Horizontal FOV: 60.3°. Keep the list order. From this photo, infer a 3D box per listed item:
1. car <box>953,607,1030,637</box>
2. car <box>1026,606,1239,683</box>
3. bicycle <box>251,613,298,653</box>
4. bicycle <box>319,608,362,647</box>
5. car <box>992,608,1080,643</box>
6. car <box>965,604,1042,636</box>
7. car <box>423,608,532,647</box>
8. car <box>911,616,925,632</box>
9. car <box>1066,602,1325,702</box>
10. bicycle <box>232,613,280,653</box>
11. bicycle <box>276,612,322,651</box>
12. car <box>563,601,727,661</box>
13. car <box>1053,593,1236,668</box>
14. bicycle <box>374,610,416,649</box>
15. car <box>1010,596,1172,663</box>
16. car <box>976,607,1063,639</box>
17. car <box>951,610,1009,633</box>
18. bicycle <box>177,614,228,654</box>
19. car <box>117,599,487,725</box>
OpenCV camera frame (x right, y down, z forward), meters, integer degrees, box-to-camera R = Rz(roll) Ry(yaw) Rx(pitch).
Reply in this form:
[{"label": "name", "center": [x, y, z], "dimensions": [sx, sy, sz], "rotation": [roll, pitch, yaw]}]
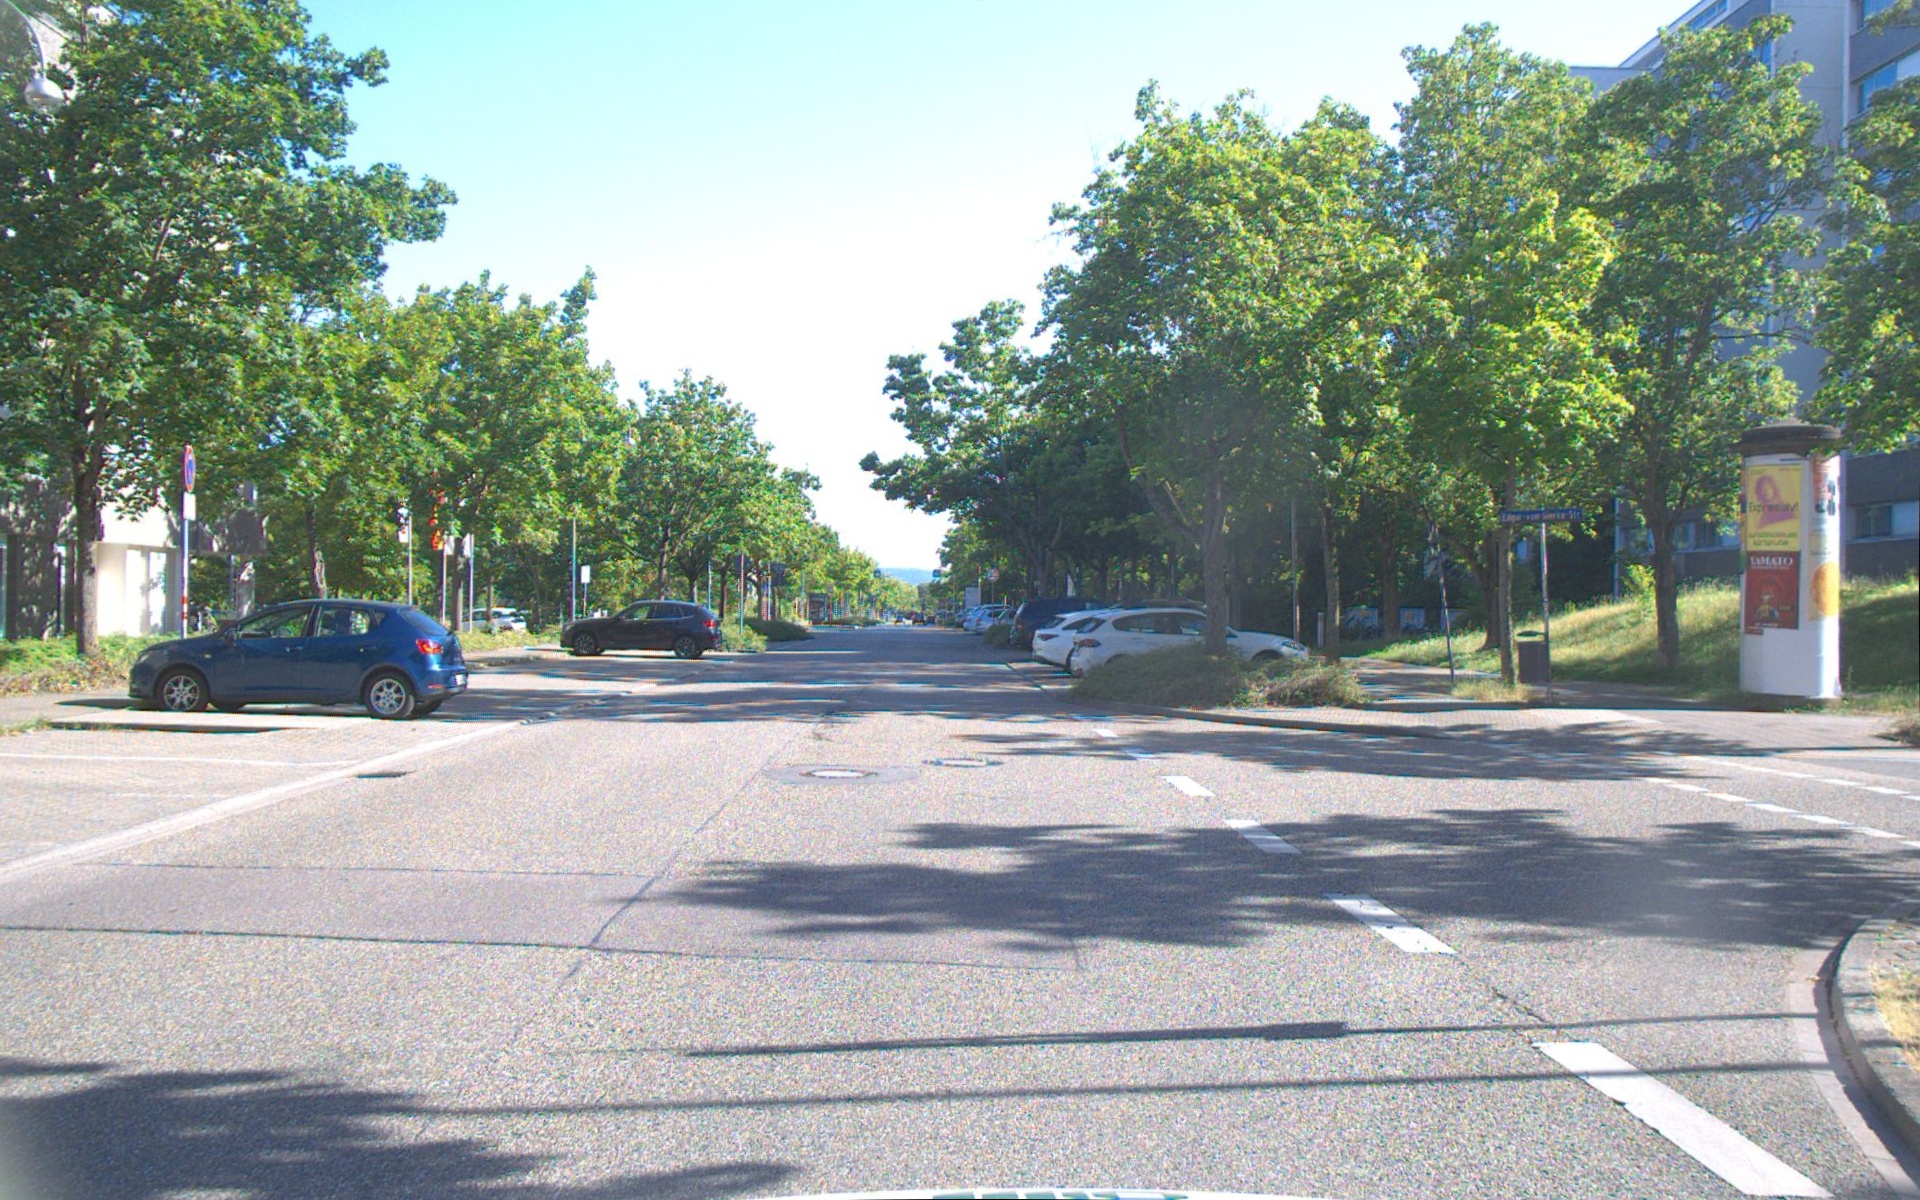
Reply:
[{"label": "car", "center": [1.792, 1.253, 94.447], "dimensions": [4.256, 1.515, 1.737], "rotation": [-2, -1, -3]}, {"label": "car", "center": [3.717, 0.959, 36.111], "dimensions": [4.355, 1.572, 1.816], "rotation": [1, -1, -4]}, {"label": "bicycle", "center": [-19.215, 0.918, 46.409], "dimensions": [0.428, 1.066, 2.192], "rotation": [1, -1, -1]}, {"label": "bicycle", "center": [-17.871, 0.787, 47.777], "dimensions": [0.428, 1.066, 2.192], "rotation": [1, -1, -1]}, {"label": "car", "center": [3.450, 1.147, 75.786], "dimensions": [3.906, 1.476, 1.716], "rotation": [-1, 0, -1]}, {"label": "car", "center": [2.540, 1.153, 97.171], "dimensions": [4.347, 1.676, 1.815], "rotation": [-2, 0, -3]}, {"label": "car", "center": [-20.020, 1.146, 68.709], "dimensions": [3.994, 1.476, 1.624], "rotation": [-1, -1, 0]}, {"label": "car", "center": [-6.241, 3.552, 245.273], "dimensions": [1.953, 2.048, 4.000], "rotation": [1, 2, -1]}, {"label": "car", "center": [4.209, 0.916, 29.988], "dimensions": [4.340, 1.621, 1.835], "rotation": [-2, -1, -4]}, {"label": "bicycle", "center": [-19.741, 0.918, 46.395], "dimensions": [0.428, 1.066, 2.192], "rotation": [1, -1, -1]}, {"label": "bicycle", "center": [-18.424, 0.869, 46.160], "dimensions": [0.428, 1.066, 2.192], "rotation": [1, -1, -1]}, {"label": "car", "center": [-8.595, 0.842, 45.375], "dimensions": [4.107, 1.547, 1.771], "rotation": [1, -1, -1]}, {"label": "car", "center": [4.314, 0.731, 39.120], "dimensions": [4.036, 1.646, 1.732], "rotation": [-1, -2, -4]}, {"label": "bicycle", "center": [-15.802, 0.824, 46.300], "dimensions": [0.428, 1.066, 2.192], "rotation": [1, -1, -1]}, {"label": "car", "center": [3.751, 0.836, 48.096], "dimensions": [4.494, 1.810, 1.999], "rotation": [-1, -1, -1]}, {"label": "car", "center": [2.914, 1.116, 80.482], "dimensions": [4.185, 1.453, 1.828], "rotation": [1, -1, 3]}, {"label": "car", "center": [1.428, 1.523, 118.803], "dimensions": [4.080, 1.453, 1.999], "rotation": [-2, -1, -2]}, {"label": "bicycle", "center": [-21.189, 0.941, 46.278], "dimensions": [0.428, 1.066, 2.192], "rotation": [1, -1, -1]}, {"label": "car", "center": [-8.142, 0.757, 20.764], "dimensions": [3.909, 1.436, 1.815], "rotation": [1, -1, -5]}]
